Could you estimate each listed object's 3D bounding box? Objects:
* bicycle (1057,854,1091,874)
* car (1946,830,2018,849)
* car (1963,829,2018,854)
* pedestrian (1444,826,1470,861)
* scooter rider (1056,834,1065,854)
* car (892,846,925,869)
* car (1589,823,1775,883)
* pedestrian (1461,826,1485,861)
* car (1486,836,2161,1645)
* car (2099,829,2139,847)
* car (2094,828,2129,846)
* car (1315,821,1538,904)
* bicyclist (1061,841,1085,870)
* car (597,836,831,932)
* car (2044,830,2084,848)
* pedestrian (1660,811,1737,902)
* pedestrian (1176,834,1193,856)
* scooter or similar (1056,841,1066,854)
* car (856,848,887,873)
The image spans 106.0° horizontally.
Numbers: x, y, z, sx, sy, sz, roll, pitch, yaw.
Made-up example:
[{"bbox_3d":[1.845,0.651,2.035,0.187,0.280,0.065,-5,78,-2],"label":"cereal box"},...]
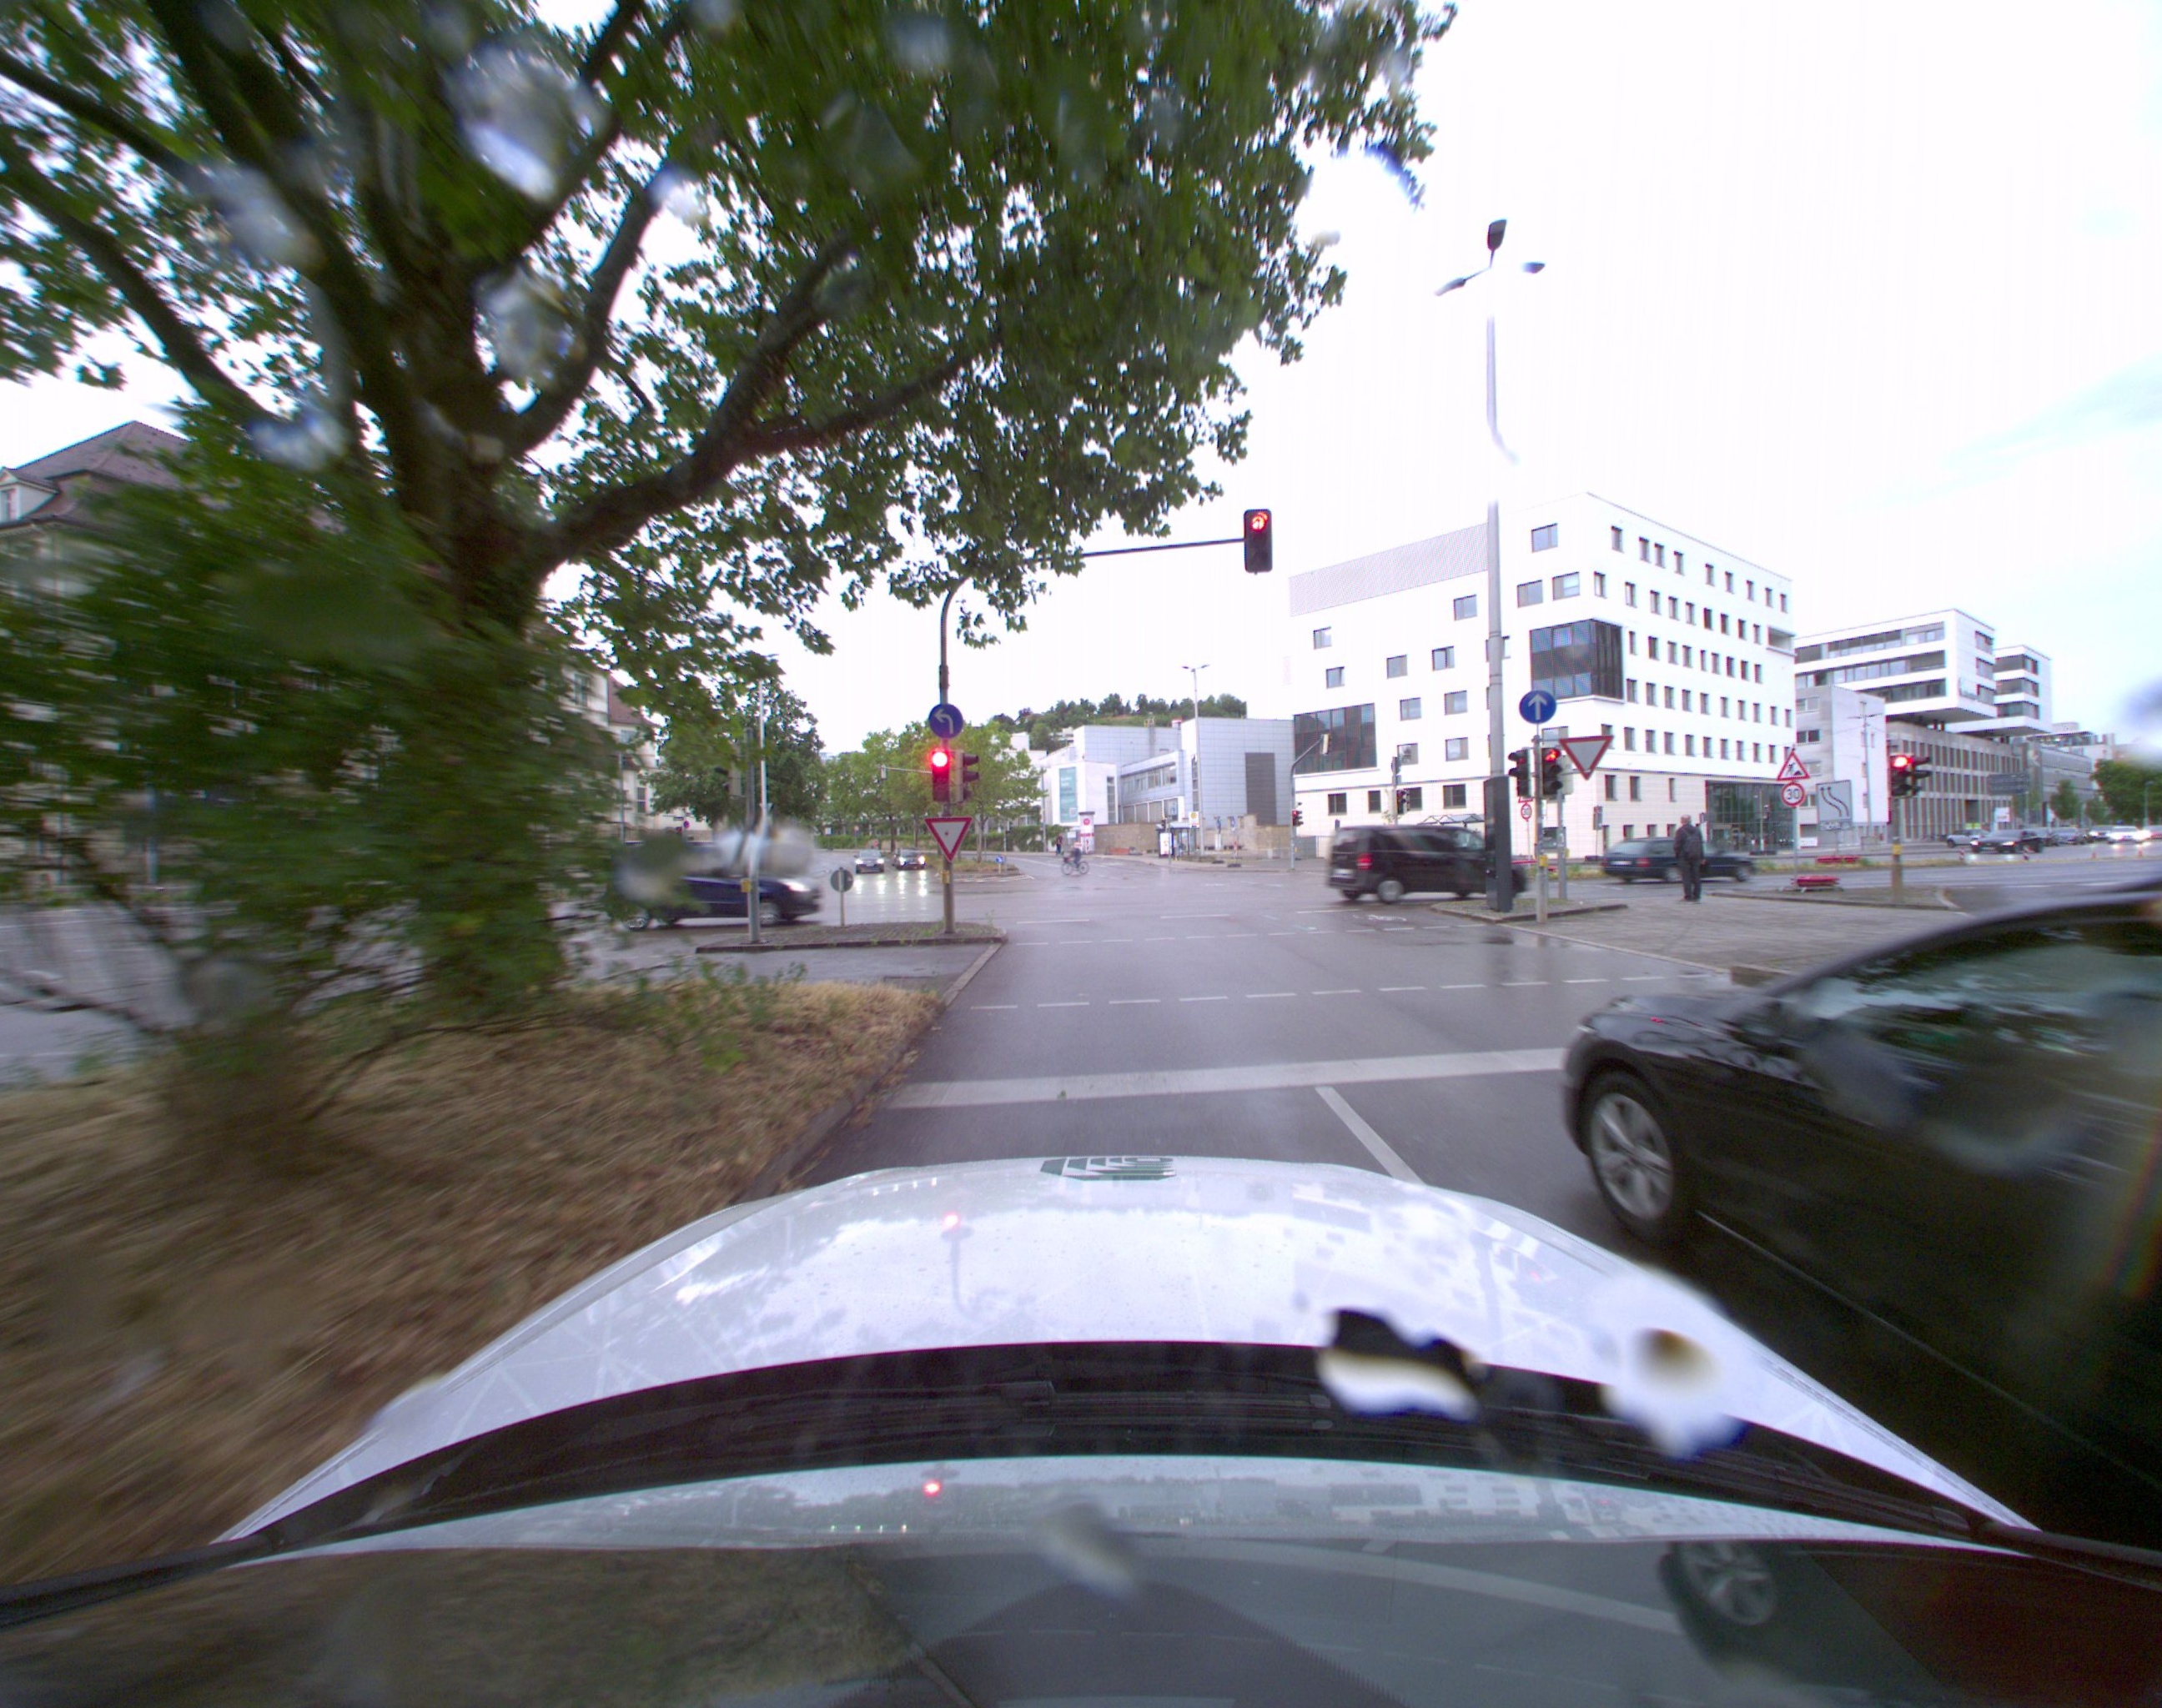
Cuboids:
[{"bbox_3d":[-0.399,0.559,45.728,1.826,1.056,0.642,-1,-1,-29],"label":"bicycle"},{"bbox_3d":[76.270,-1.170,68.994,1.949,1.557,4.073,0,0,8],"label":"car"},{"bbox_3d":[55.214,-0.761,49.419,4.017,1.443,1.778,0,0,-35],"label":"car"},{"bbox_3d":[20.069,-0.566,43.438,0.951,1.840,0.821,0,-1,-9],"label":"pedestrian"},{"bbox_3d":[-2.032,-0.976,78.998,0.725,1.883,0.628,0,-1,-18],"label":"scooter rider"},{"bbox_3d":[-12.694,0.257,59.780,1.795,1.584,3.974,-2,1,-20],"label":"car"},{"bbox_3d":[19.180,-0.044,26.050,4.958,1.673,1.992,-2,0,-12],"label":"car"},{"bbox_3d":[21.928,-0.551,45.550,0.995,1.935,0.957,0,-1,11],"label":"pedestrian"},{"bbox_3d":[2.821,0.707,1.798,1.664,1.466,4.513,-1,1,1],"label":"car"},{"bbox_3d":[85.550,-1.319,67.163,4.409,1.378,1.977,-2,1,-39],"label":"car"},{"bbox_3d":[96.756,-1.585,76.497,4.409,1.664,1.977,-2,1,-39],"label":"car"},{"bbox_3d":[8.454,0.174,20.094,4.772,1.809,1.993,-2,1,-11],"label":"car"},{"bbox_3d":[-0.455,0.079,45.677,1.131,1.632,0.696,1,-1,-29],"label":"bicyclist"},{"bbox_3d":[-7.982,0.604,18.021,4.284,1.908,1.796,-1,1,-3],"label":"car"},{"bbox_3d":[78.915,-1.166,65.362,4.409,1.378,1.977,0,0,-39],"label":"car"},{"bbox_3d":[13.233,0.059,17.473,0.826,1.892,1.025,0,-1,-7],"label":"pedestrian"},{"bbox_3d":[8.050,-0.707,63.324,1.253,1.719,1.016,0,-1,0],"label":"pedestrian"},{"bbox_3d":[-1.983,-0.648,79.035,0.593,1.239,1.305,0,-1,-19],"label":"scooter or similar"},{"bbox_3d":[-14.392,0.394,55.873,1.871,1.564,4.254,-2,2,-15],"label":"car"}]
